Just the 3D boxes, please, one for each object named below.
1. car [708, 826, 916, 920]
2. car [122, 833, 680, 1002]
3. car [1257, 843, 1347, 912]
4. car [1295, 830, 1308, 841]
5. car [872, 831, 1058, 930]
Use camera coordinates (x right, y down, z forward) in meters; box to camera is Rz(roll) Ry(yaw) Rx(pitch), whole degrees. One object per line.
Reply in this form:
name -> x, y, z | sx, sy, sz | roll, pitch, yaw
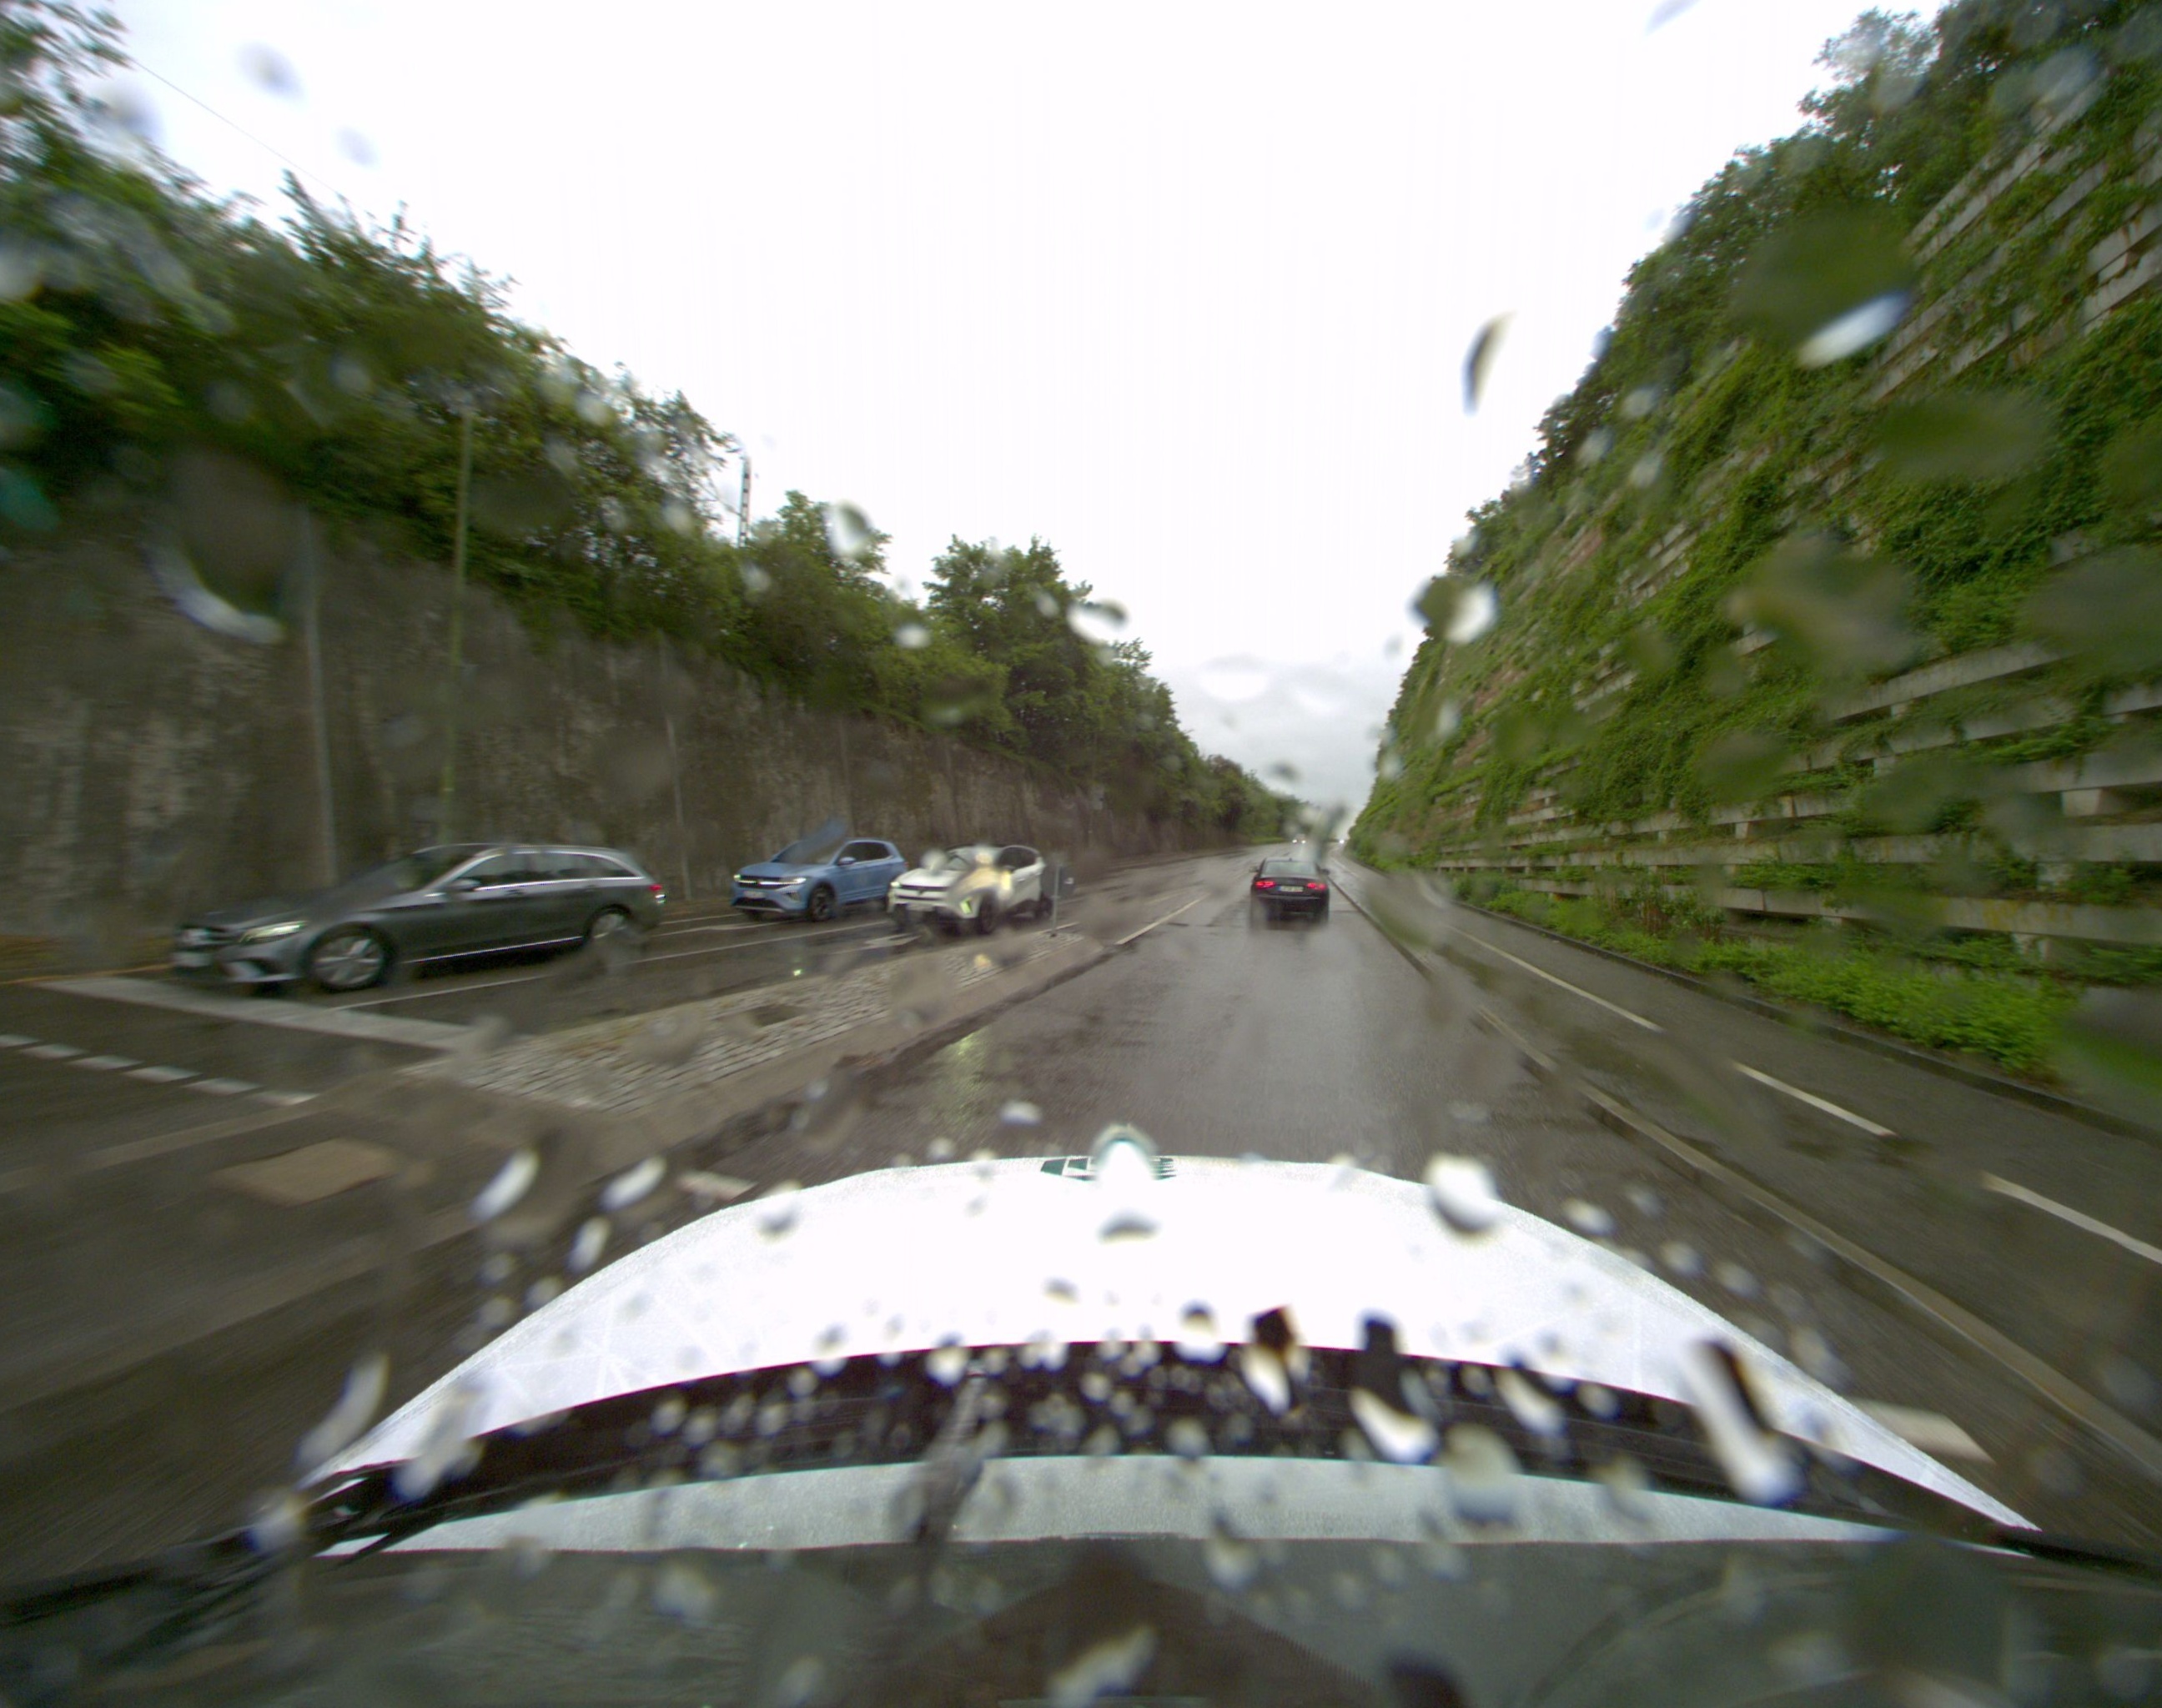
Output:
car -> -5.272, 0.331, 16.567 | 1.799, 1.657, 4.072 | -1, 0, 21
car -> -7.554, 0.552, 9.802 | 1.976, 1.503, 4.754 | -1, 0, 22
car -> 5.340, 0.490, 19.705 | 1.878, 1.492, 4.225 | 0, 0, 15
car -> 33.921, -2.870, 125.442 | 1.719, 1.617, 4.018 | 3, 2, 17
car -> -2.014, 0.420, 15.416 | 1.854, 1.601, 4.019 | 0, 0, 19
